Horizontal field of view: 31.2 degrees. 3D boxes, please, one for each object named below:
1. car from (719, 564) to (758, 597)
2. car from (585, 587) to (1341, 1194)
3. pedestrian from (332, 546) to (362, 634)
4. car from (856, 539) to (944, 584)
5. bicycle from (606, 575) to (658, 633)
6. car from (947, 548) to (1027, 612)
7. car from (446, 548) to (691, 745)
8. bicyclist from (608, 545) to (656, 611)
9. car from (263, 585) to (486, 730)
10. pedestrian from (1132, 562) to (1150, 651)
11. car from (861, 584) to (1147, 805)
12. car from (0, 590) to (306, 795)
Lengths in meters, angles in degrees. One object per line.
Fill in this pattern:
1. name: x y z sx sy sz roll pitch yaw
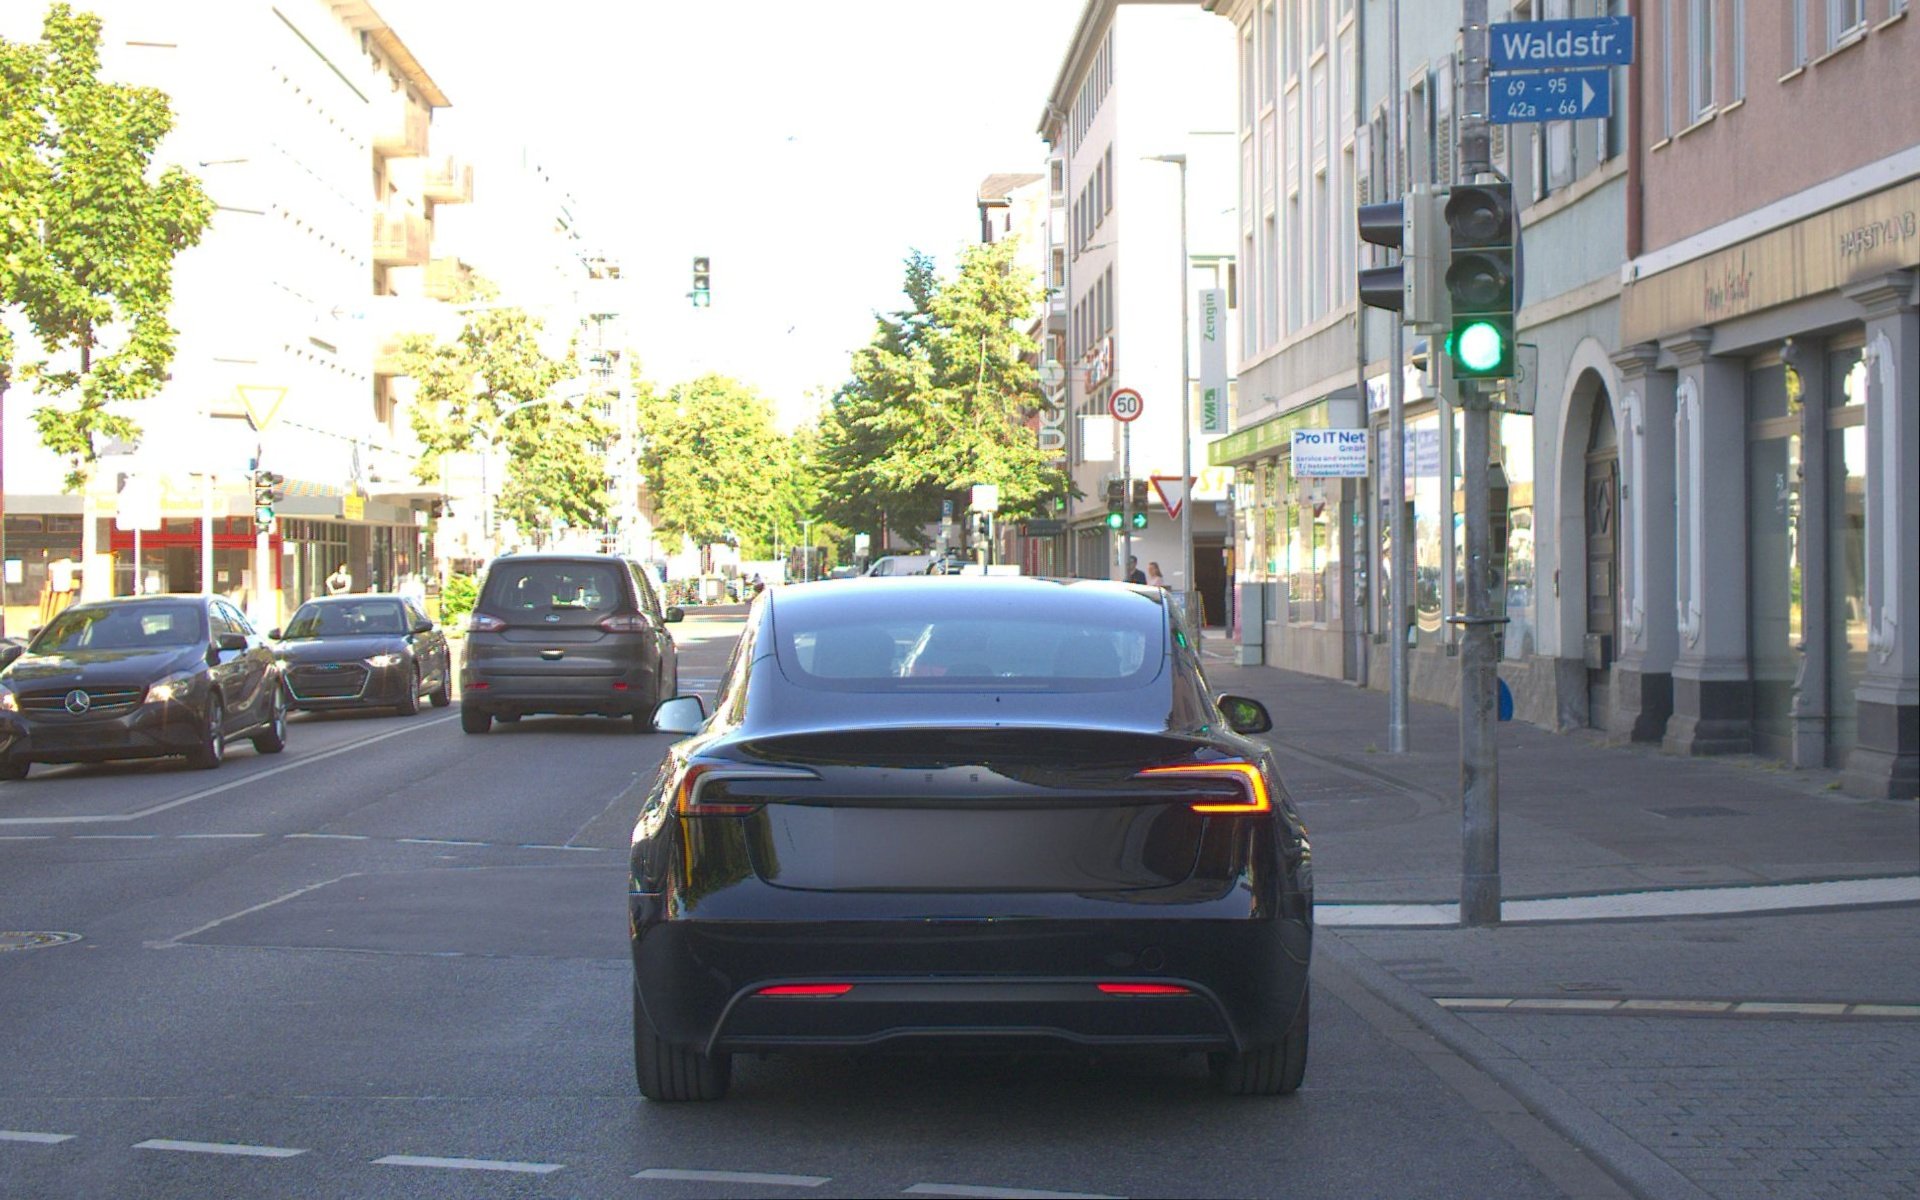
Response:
1. car: -11.325 -0.996 175.772 1.993 1.631 4.001 0 1 -3
2. car: -0.020 0.704 10.420 1.848 1.450 4.000 0 1 -1
3. pedestrian: -14.129 -0.228 79.236 0.574 2.007 0.828 1 0 -5
4. car: -2.747 -1.759 156.275 3.986 2.007 2.000 0 1 -2
5. bicycle: -8.022 0.075 84.236 1.111 1.340 4.001 0 1 -4
6. car: 0.675 -0.546 89.464 1.993 1.623 4.000 0 1 -1
7. car: -3.759 0.389 33.742 1.993 1.766 4.729 -1 1 -2
8. bicyclist: -8.039 -0.540 84.320 1.126 1.623 0.965 0 1 -3
9. car: -6.843 0.630 40.608 1.993 1.431 4.675 -4 1 -3
10. pedestrian: 3.066 0.113 58.305 0.268 1.507 0.278 0 1 -5
11. car: 0.254 0.660 26.411 1.993 1.507 4.176 0 1 -2
12. car: -6.856 0.714 28.893 1.993 1.405 4.675 -4 1 -3
